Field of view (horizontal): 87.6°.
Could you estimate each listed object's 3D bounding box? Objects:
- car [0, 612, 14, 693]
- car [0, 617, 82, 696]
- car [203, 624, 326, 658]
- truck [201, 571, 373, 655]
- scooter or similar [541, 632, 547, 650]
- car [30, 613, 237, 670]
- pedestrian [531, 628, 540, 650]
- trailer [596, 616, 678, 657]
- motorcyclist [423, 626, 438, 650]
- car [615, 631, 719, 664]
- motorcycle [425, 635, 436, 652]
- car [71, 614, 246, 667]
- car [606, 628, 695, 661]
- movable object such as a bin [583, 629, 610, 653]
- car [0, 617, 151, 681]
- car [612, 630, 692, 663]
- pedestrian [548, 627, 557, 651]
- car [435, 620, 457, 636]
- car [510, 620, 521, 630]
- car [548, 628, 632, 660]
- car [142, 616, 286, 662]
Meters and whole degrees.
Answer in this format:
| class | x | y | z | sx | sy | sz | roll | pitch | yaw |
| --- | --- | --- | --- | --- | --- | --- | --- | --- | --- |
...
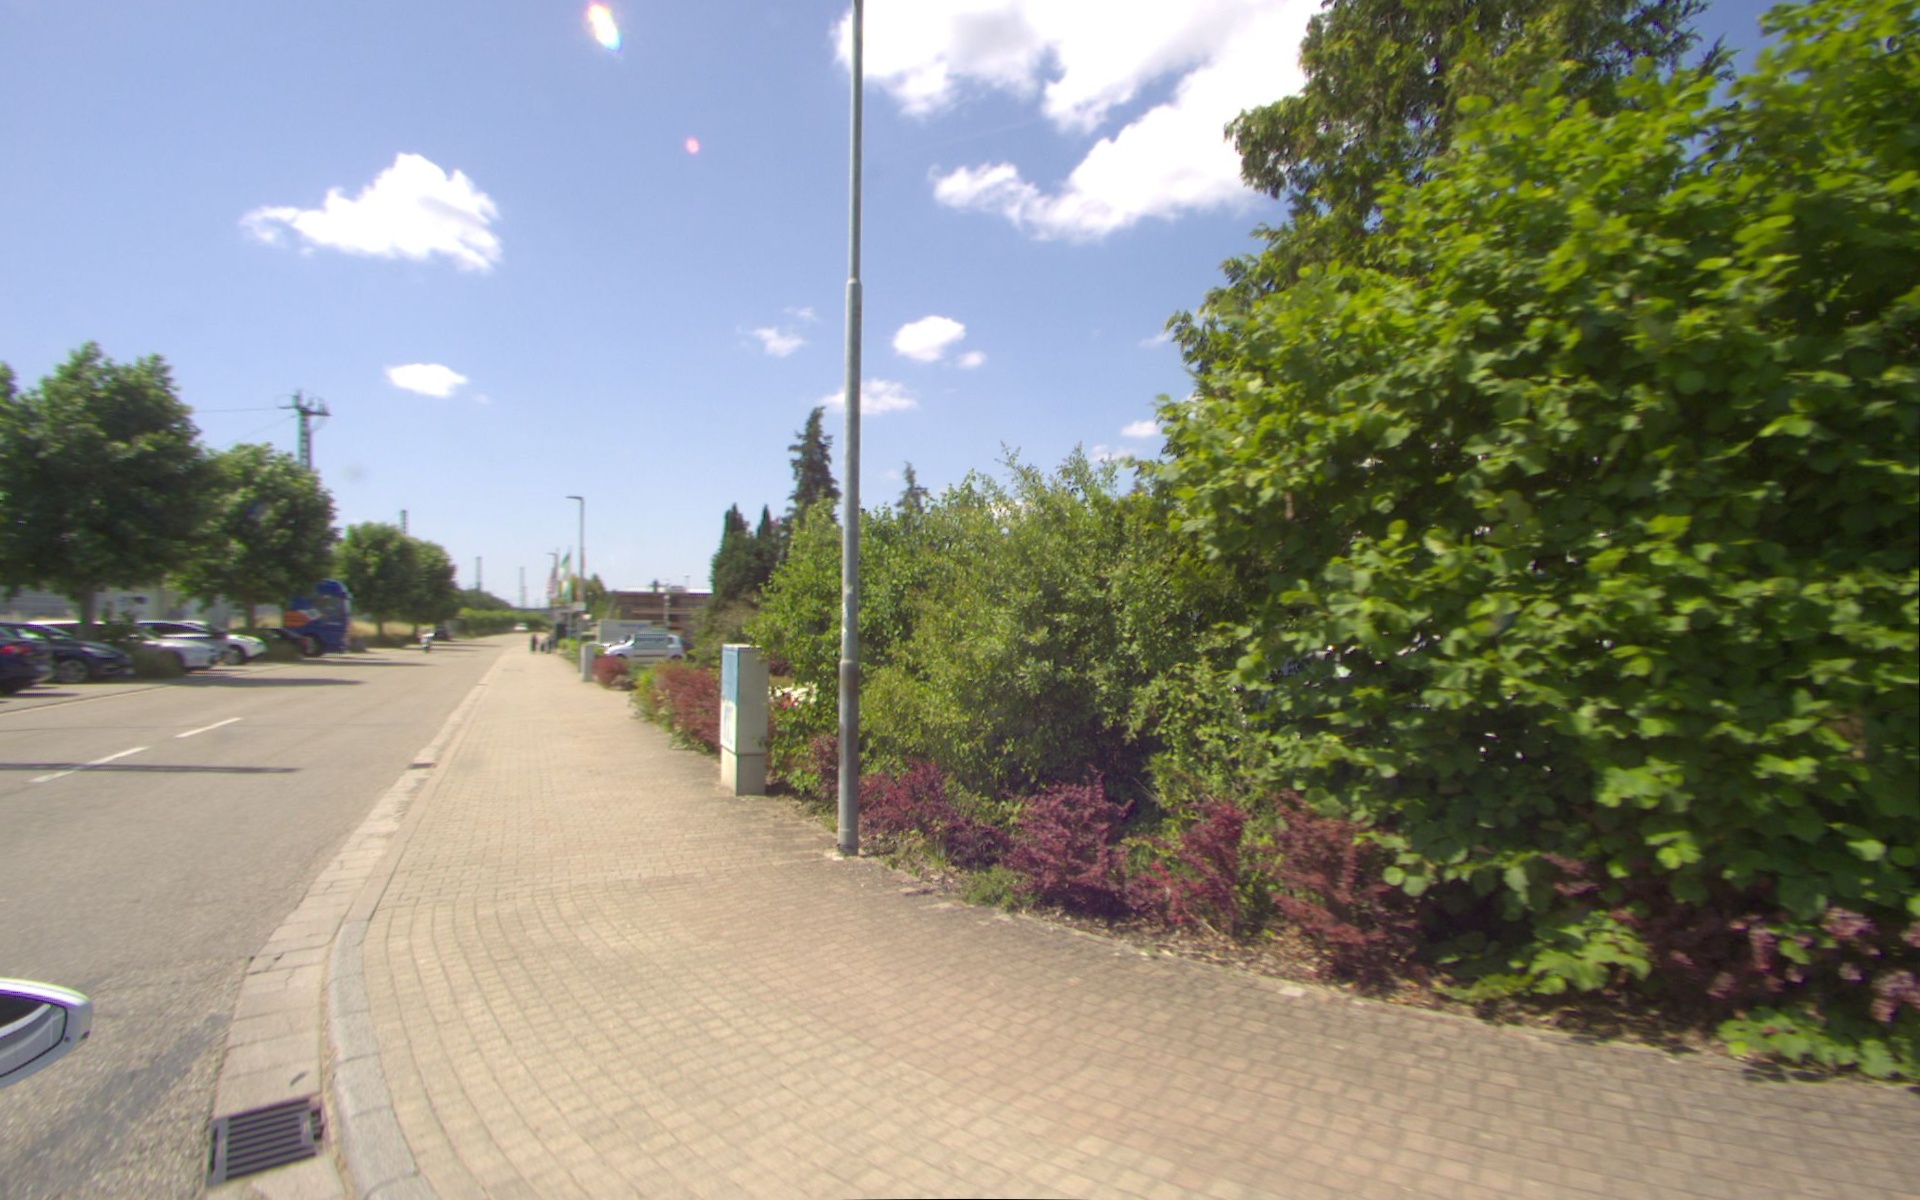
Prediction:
| class | x | y | z | sx | sy | sz | roll | pitch | yaw |
| --- | --- | --- | --- | --- | --- | --- | --- | --- | --- |
| car | -18.824 | 0.856 | 16.976 | 3.622 | 1.466 | 1.678 | 3 | -2 | -25 |
| car | -19.658 | 1.054 | 19.156 | 3.890 | 1.469 | 1.783 | 1 | -2 | -19 |
| car | -30.521 | 1.793 | 44.080 | 4.157 | 1.413 | 1.865 | 2 | -2 | -26 |
| truck | -32.340 | 0.686 | 48.443 | 6.532 | 3.872 | 2.654 | 1 | -1 | -25 |
| scooter or similar | -26.964 | 2.660 | 64.943 | 0.329 | 1.213 | 0.397 | 0 | -2 | -23 |
| car | -24.216 | 1.235 | 29.551 | 4.283 | 1.552 | 1.919 | 2 | -1 | -24 |
| pedestrian | -27.410 | 2.520 | 64.656 | 0.558 | 1.422 | 0.582 | 0 | -2 | -24 |
| trailer | -16.971 | 1.898 | 52.539 | 3.935 | 2.040 | 1.994 | 0 | -1 | -23 |
| motorcyclist | -34.196 | 2.457 | 64.727 | 0.766 | 1.528 | 0.918 | 2 | -1 | -25 |
| car | -13.740 | 2.239 | 46.944 | 4.422 | 1.458 | 1.807 | 2 | -2 | -27 |
| motorcycle | -34.129 | 2.794 | 64.552 | 0.457 | 1.064 | 1.948 | 2 | -2 | -25 |
| car | -25.401 | 1.308 | 31.939 | 3.938 | 1.567 | 1.993 | 2 | -2 | -26 |
| car | -15.459 | 2.220 | 50.088 | 3.988 | 1.594 | 1.707 | 1 | -3 | -29 |
| movable object such as a bin | -23.814 | 2.682 | 65.662 | 1.033 | 1.477 | 1.263 | 1 | -2 | 29 |
| car | -22.309 | 1.161 | 24.134 | 4.020 | 1.491 | 1.781 | 1 | -1 | -23 |
| car | -13.650 | 2.039 | 44.370 | 3.306 | 1.420 | 1.765 | 1 | -1 | -20 |
| pedestrian | -26.465 | 2.514 | 65.070 | 0.528 | 1.559 | 0.509 | 0 | -2 | -24 |
| car | -52.951 | 2.857 | 103.259 | 1.719 | 1.616 | 3.567 | 2 | -2 | -23 |
| car | -88.137 | 5.033 | 198.755 | 1.814 | 1.882 | 4.470 | 2 | -2 | -23 |
| car | -20.164 | 2.408 | 54.561 | 4.160 | 1.654 | 1.795 | 0 | -3 | -25 |
| car | -27.276 | 1.435 | 36.783 | 3.923 | 1.639 | 1.843 | 2 | -1 | -27 |
